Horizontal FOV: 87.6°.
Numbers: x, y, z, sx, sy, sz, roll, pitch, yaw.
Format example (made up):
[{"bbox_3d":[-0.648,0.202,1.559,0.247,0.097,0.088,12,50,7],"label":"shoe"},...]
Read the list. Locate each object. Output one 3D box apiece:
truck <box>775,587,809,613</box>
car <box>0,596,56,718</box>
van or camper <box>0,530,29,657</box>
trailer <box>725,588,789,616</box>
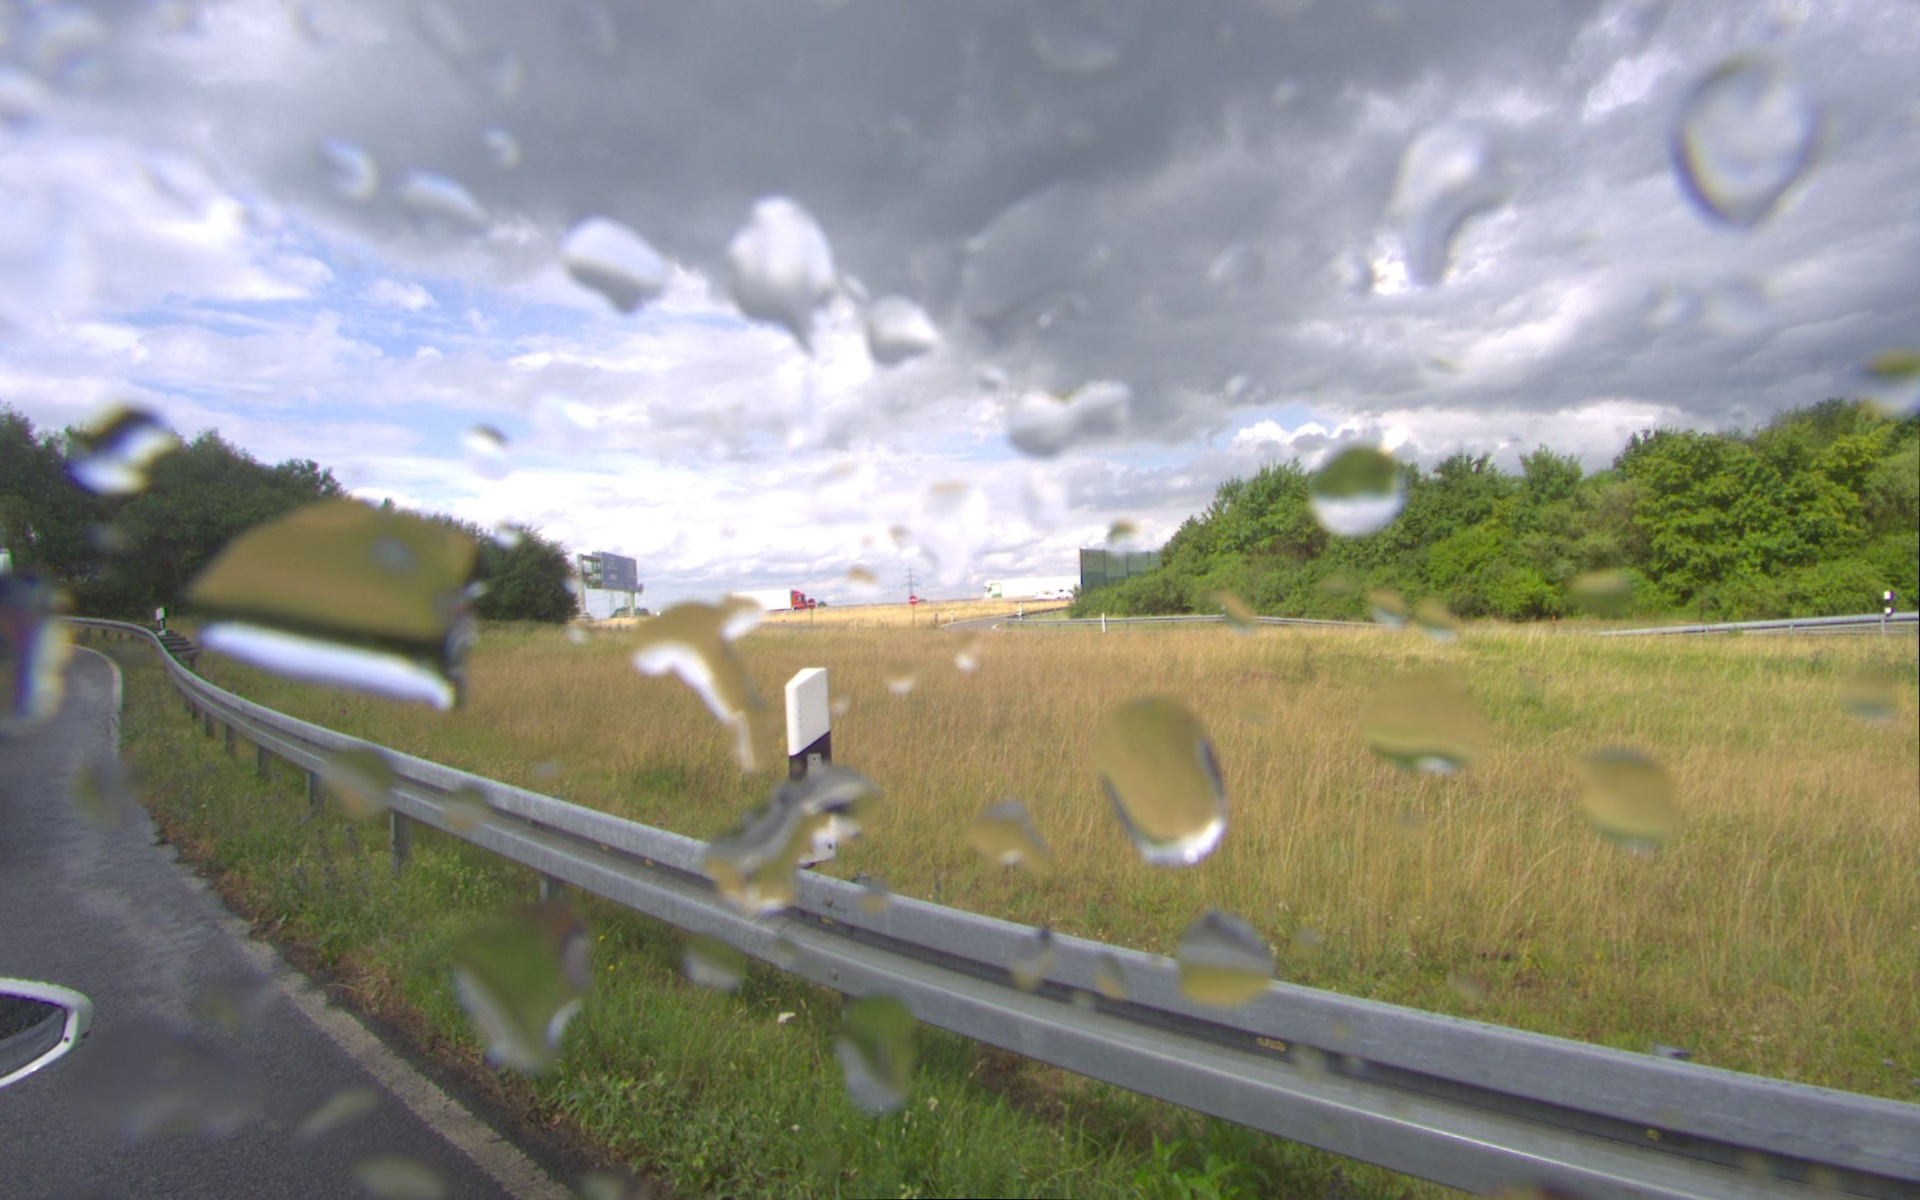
[{"bbox_3d":[-22.964,0.032,137.078,4.211,3.174,3.202,-3,-1,-5],"label":"truck"},{"bbox_3d":[-13.771,0.773,13.845,1.704,1.544,3.967,0,-1,-40],"label":"car"},{"bbox_3d":[-23.462,-0.103,23.419,2.414,2.765,5.946,1,-1,-43],"label":"van or camper"},{"bbox_3d":[-27.654,0.238,136.674,8.044,3.251,3.192,-3,-1,-5],"label":"trailer"}]
